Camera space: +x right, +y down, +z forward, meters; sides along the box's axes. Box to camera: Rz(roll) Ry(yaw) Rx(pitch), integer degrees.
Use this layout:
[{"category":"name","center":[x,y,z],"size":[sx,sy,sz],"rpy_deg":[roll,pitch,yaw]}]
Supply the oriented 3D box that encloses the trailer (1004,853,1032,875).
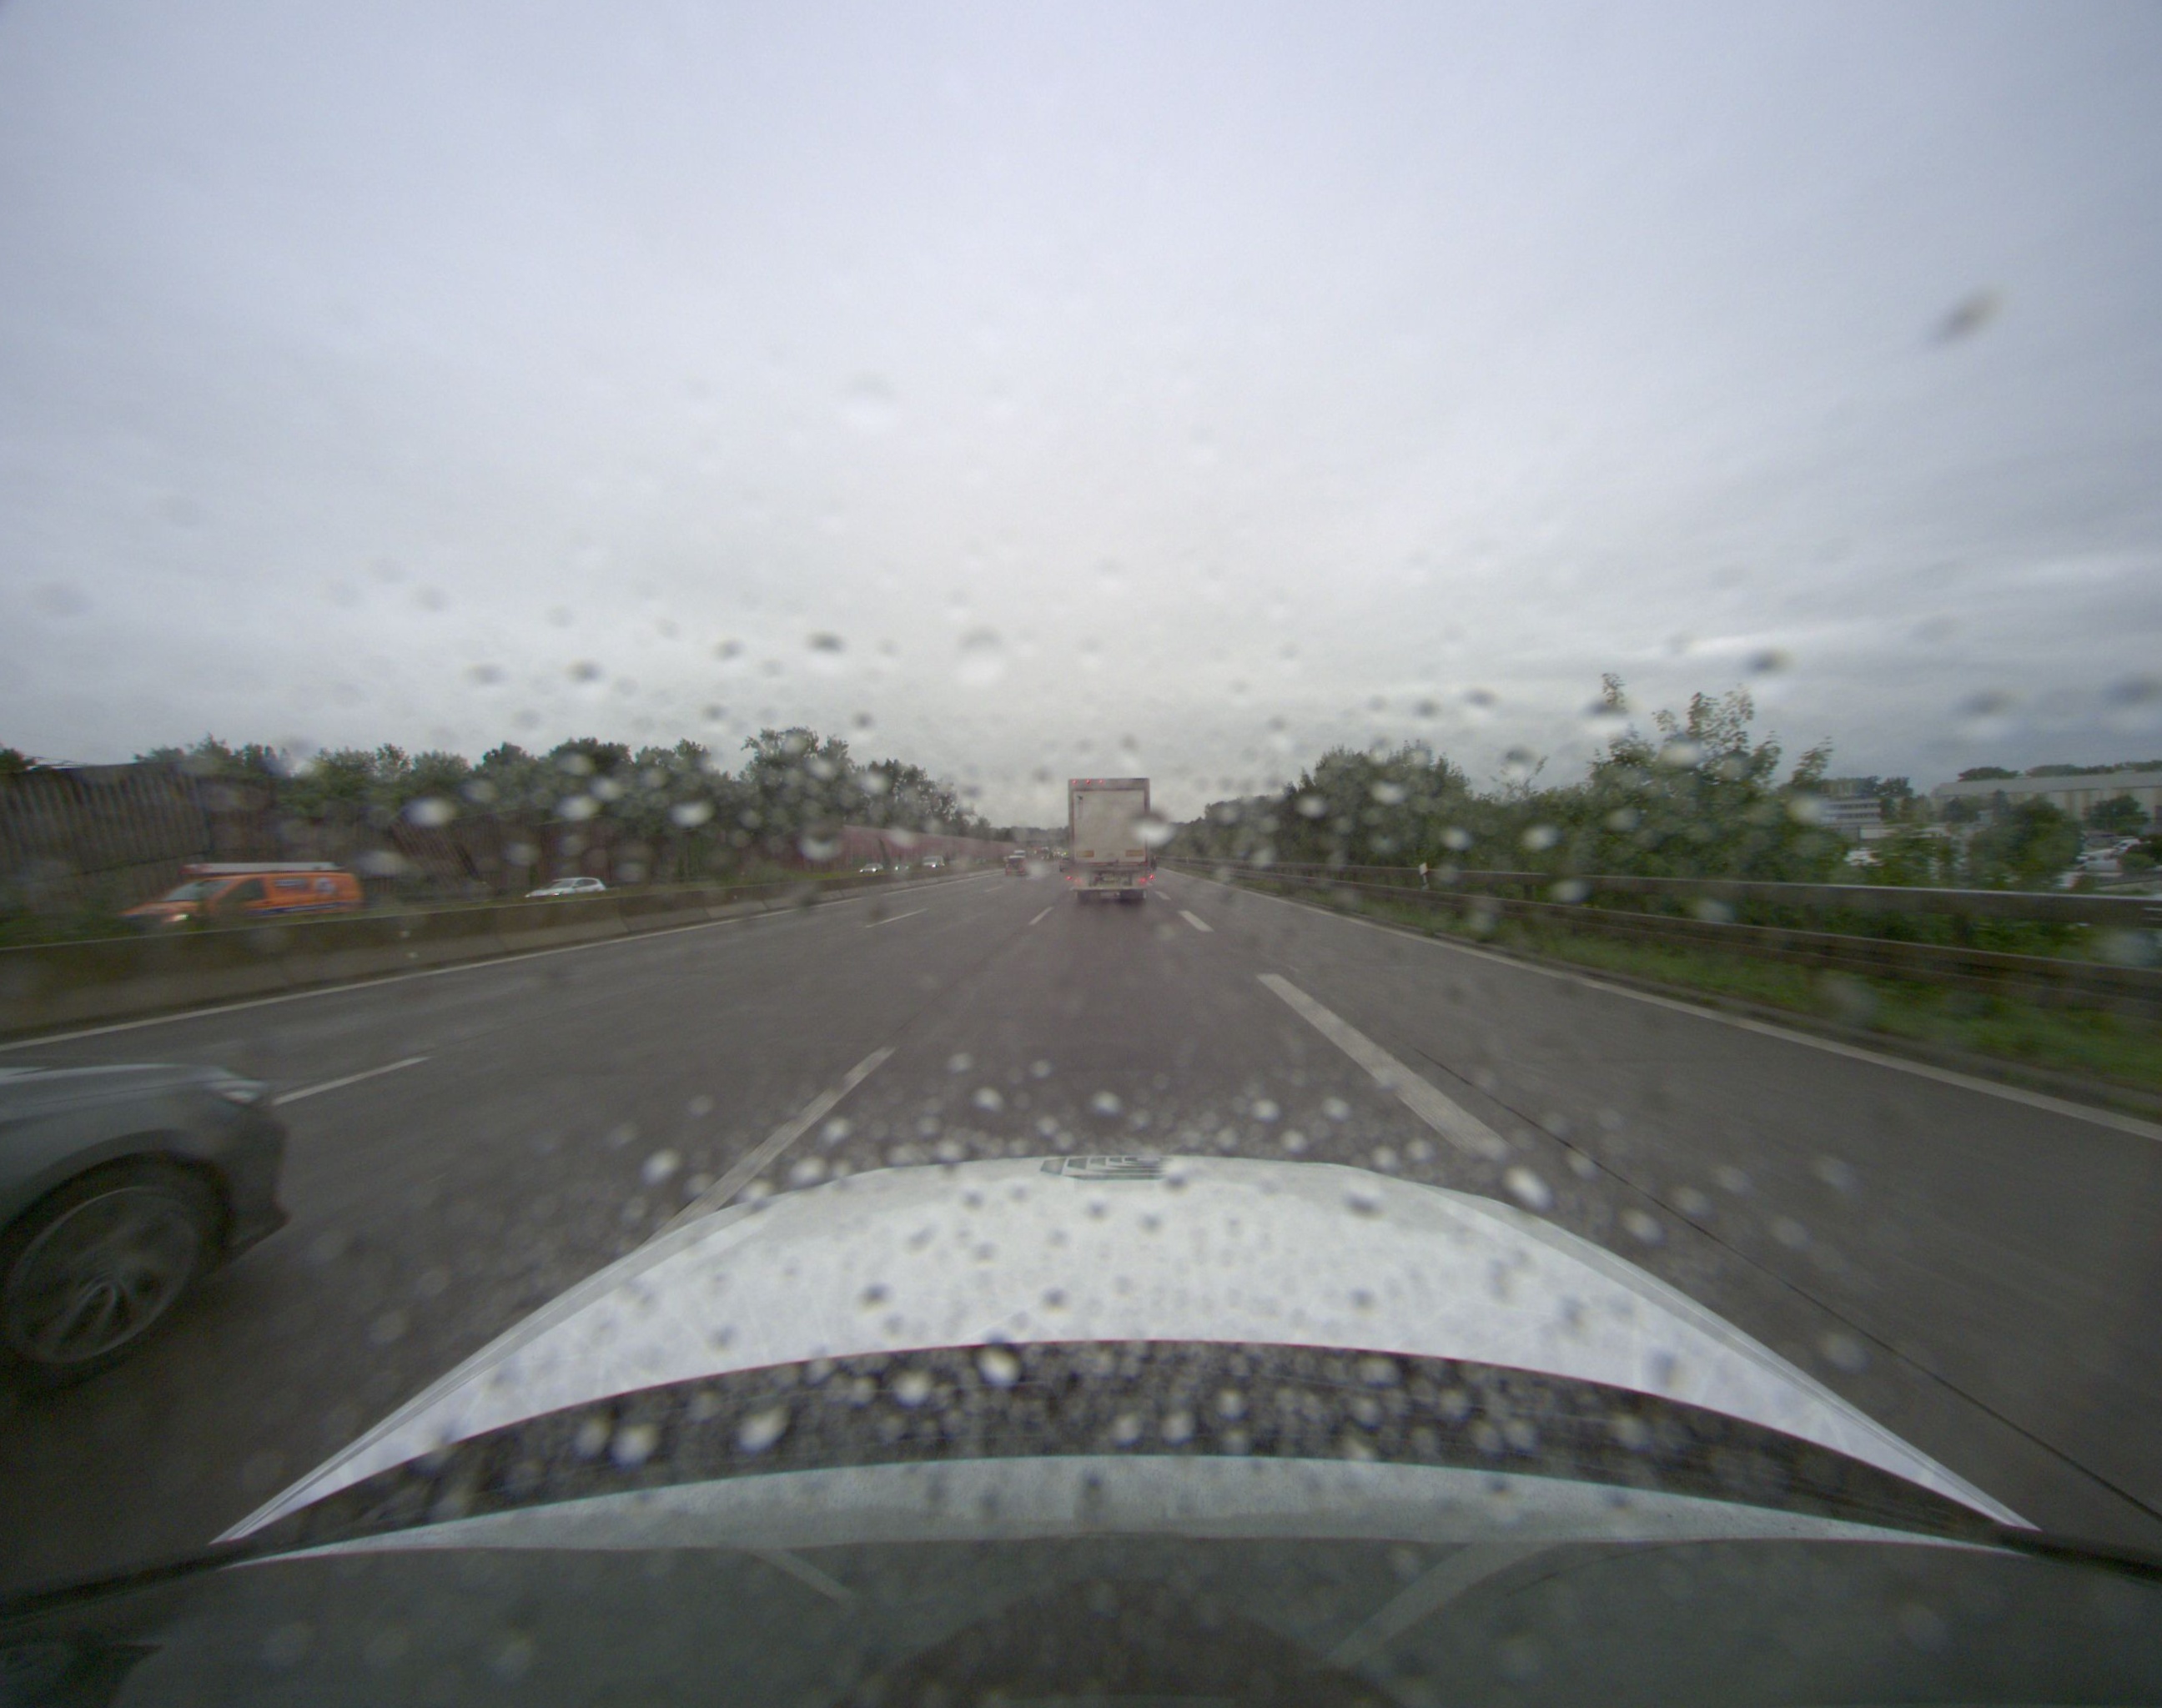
[{"category":"trailer","center":[-5.107,0.773,66.643],"size":[1.808,1.624,4.570],"rpy_deg":[-1,0,2]}]

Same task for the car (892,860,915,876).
[{"category":"car","center":[-23.728,1.869,108.753],"size":[1.985,2.013,4.003],"rpy_deg":[-1,0,2]}]

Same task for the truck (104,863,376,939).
[{"category":"truck","center":[-22.336,1.163,22.028],"size":[1.985,1.739,5.019],"rpy_deg":[-1,0,3]}]

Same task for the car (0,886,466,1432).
[{"category":"car","center":[-3.782,0.856,1.369],"size":[1.719,1.403,4.830],"rpy_deg":[-1,0,1]}]

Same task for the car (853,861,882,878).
[{"category":"car","center":[-24.185,1.762,92.294],"size":[1.986,1.784,4.291],"rpy_deg":[-1,0,1]}]

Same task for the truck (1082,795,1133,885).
[{"category":"truck","center":[1.332,-0.650,40.474],"size":[2.334,4.157,6.349],"rpy_deg":[0,0,2]}]

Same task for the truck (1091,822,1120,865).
[{"category":"truck","center":[3.213,-1.287,104.148],"size":[3.520,5.183,9.897],"rpy_deg":[0,0,2]}]

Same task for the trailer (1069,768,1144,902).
[{"category":"trailer","center":[1.058,-0.616,32.767],"size":[2.333,4.157,14.833],"rpy_deg":[0,0,2]}]

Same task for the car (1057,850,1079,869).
[{"category":"car","center":[-1.231,0.519,77.907],"size":[1.887,1.723,4.002],"rpy_deg":[0,0,2]}]

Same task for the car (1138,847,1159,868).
[{"category":"car","center":[6.451,0.290,78.285],"size":[1.889,1.949,4.003],"rpy_deg":[0,0,3]}]

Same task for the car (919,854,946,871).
[{"category":"car","center":[-16.780,0.938,92.128],"size":[1.986,1.784,5.211],"rpy_deg":[-1,0,1]}]

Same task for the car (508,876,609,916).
[{"category":"car","center":[-25.697,2.029,40.277],"size":[1.985,1.739,4.400],"rpy_deg":[-1,0,2]}]
